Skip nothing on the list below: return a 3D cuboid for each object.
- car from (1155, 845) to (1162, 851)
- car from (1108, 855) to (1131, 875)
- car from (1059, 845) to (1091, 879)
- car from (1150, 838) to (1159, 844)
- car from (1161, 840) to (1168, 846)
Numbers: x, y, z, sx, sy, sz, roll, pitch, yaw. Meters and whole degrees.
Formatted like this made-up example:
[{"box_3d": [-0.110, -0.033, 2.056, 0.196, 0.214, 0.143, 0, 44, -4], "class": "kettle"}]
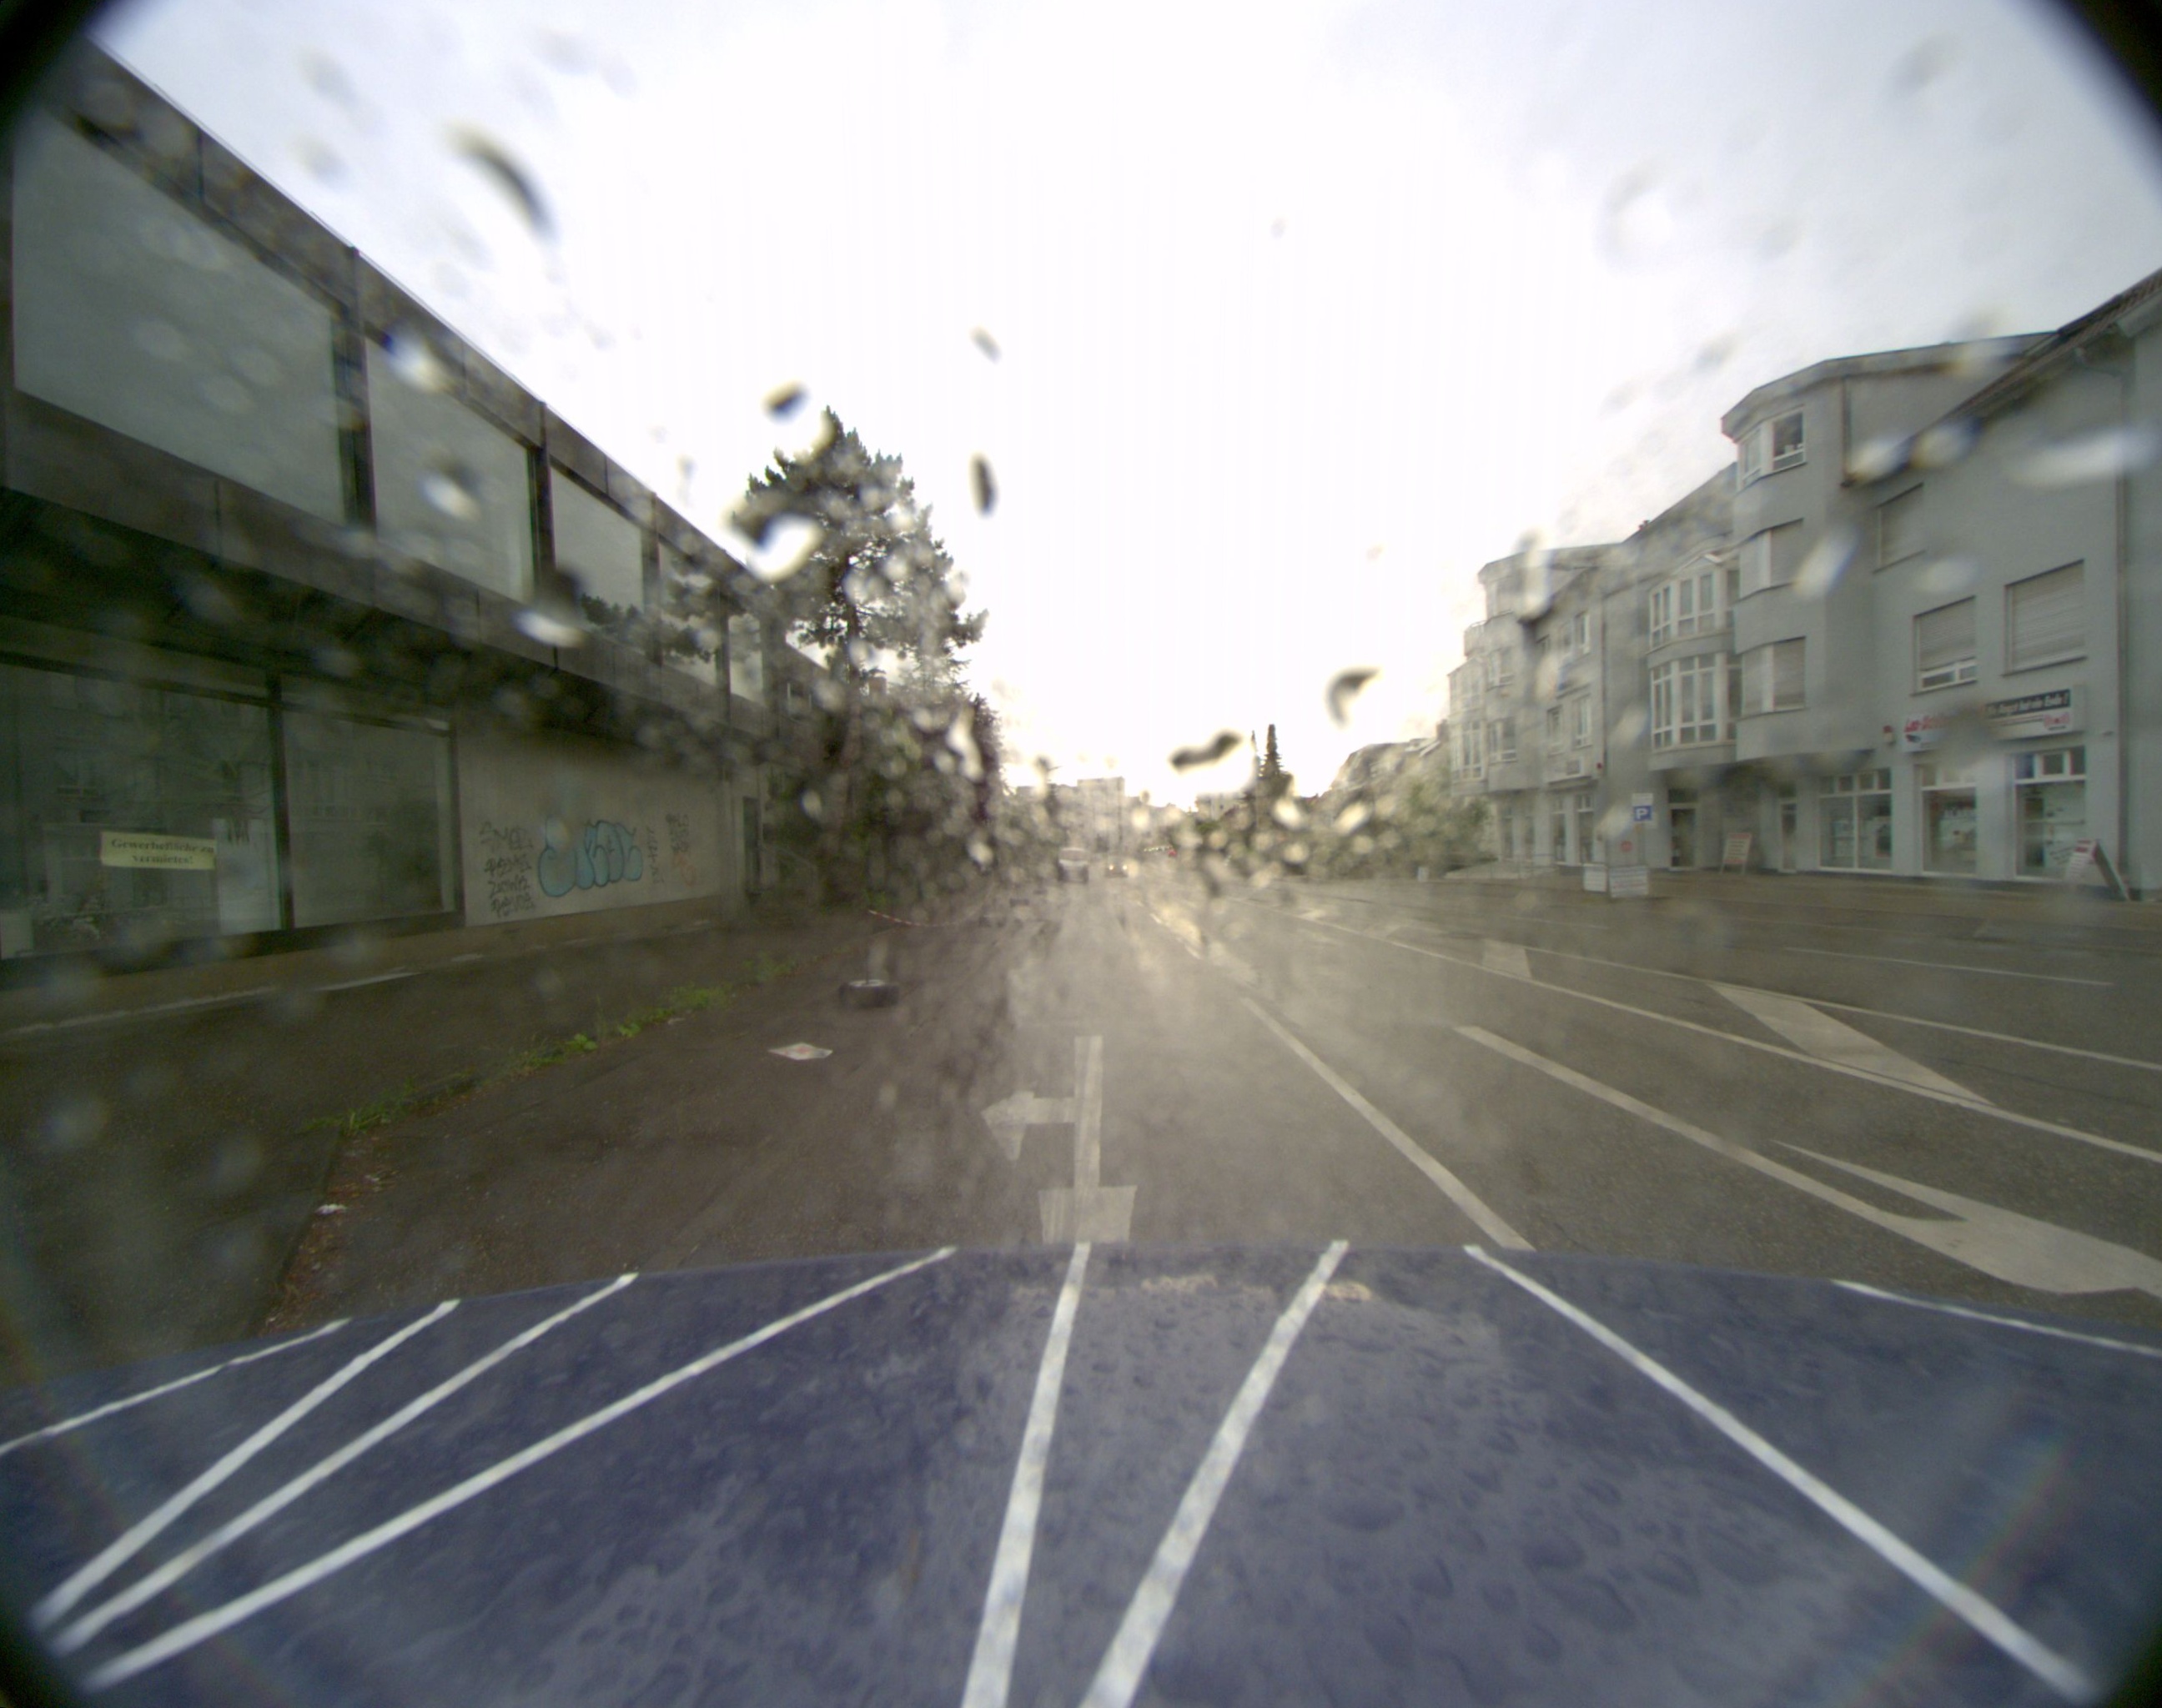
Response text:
[{"box_3d": [23.561, -1.868, 231.052, 1.997, 1.723, 4.002, -2, 1, 7], "class": "car"}, {"box_3d": [3.231, 0.890, 64.680, 1.754, 1.534, 4.676, -1, 1, 1], "class": "car"}, {"box_3d": [-0.343, 0.467, 50.401, 1.998, 2.072, 3.999, -2, 1, 1], "class": "car"}, {"box_3d": [23.449, -4.176, 241.879, 1.996, 1.808, 4.003, -2, 1, 14], "class": "car"}, {"box_3d": [26.227, -3.522, 238.651, 1.998, 1.774, 4.000, -2, 1, 3], "class": "car"}]
